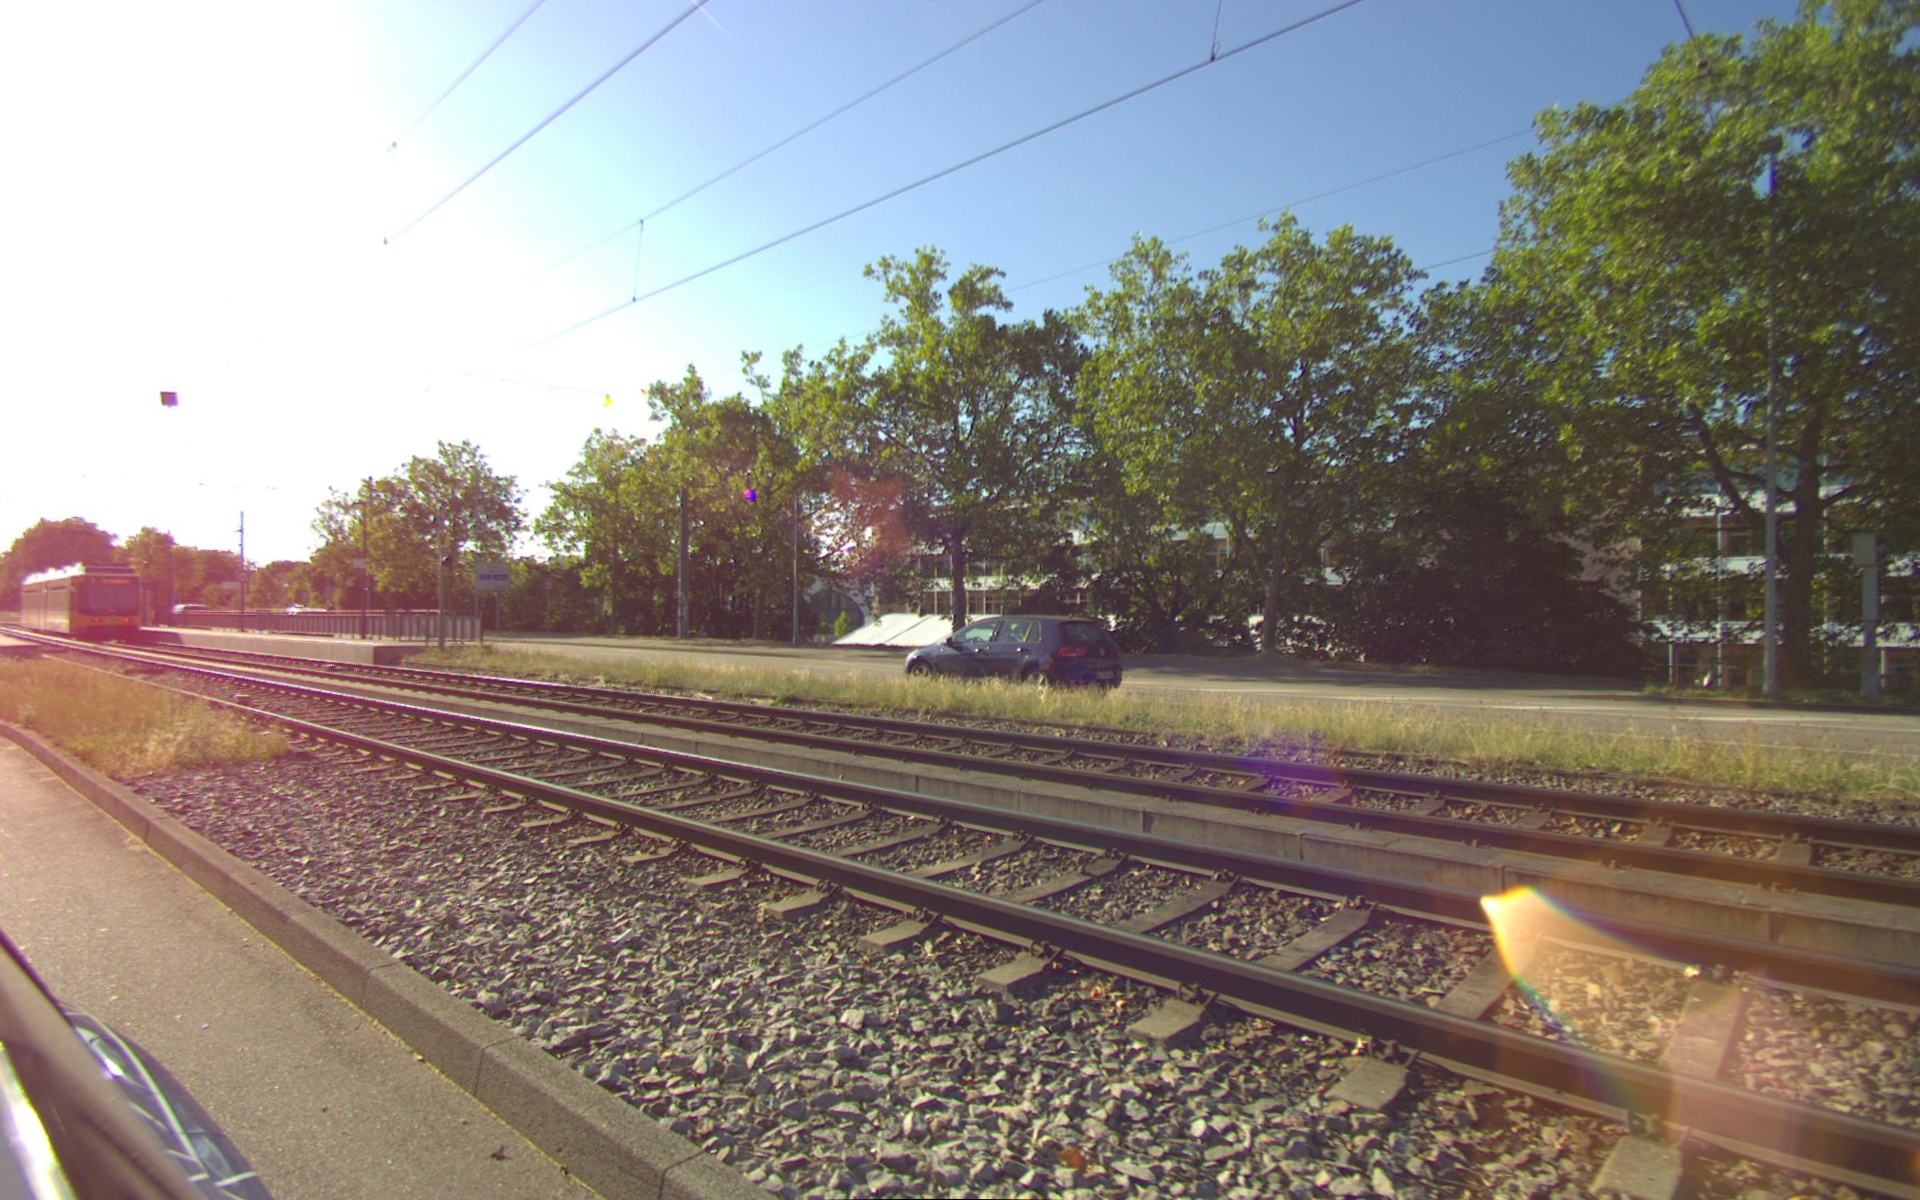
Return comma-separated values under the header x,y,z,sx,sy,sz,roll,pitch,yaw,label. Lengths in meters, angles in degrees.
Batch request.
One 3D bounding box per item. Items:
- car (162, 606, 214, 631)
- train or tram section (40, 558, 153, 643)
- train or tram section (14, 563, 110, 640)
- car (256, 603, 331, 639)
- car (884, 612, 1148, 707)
x,y,z,sx,sy,sz,roll,pitch,yaw,label
-50.362,1.196,66.000,4.334,1.573,1.972,-1,0,43,car
-42.333,0.043,49.395,12.970,3.714,2.796,-1,1,43,train or tram section
-52.827,0.120,59.314,15.876,4.036,2.796,-1,1,43,train or tram section
-31.603,0.960,47.945,4.543,1.573,1.972,-1,0,43,car
0.850,0.932,17.437,4.489,1.436,1.754,-1,-1,43,car
